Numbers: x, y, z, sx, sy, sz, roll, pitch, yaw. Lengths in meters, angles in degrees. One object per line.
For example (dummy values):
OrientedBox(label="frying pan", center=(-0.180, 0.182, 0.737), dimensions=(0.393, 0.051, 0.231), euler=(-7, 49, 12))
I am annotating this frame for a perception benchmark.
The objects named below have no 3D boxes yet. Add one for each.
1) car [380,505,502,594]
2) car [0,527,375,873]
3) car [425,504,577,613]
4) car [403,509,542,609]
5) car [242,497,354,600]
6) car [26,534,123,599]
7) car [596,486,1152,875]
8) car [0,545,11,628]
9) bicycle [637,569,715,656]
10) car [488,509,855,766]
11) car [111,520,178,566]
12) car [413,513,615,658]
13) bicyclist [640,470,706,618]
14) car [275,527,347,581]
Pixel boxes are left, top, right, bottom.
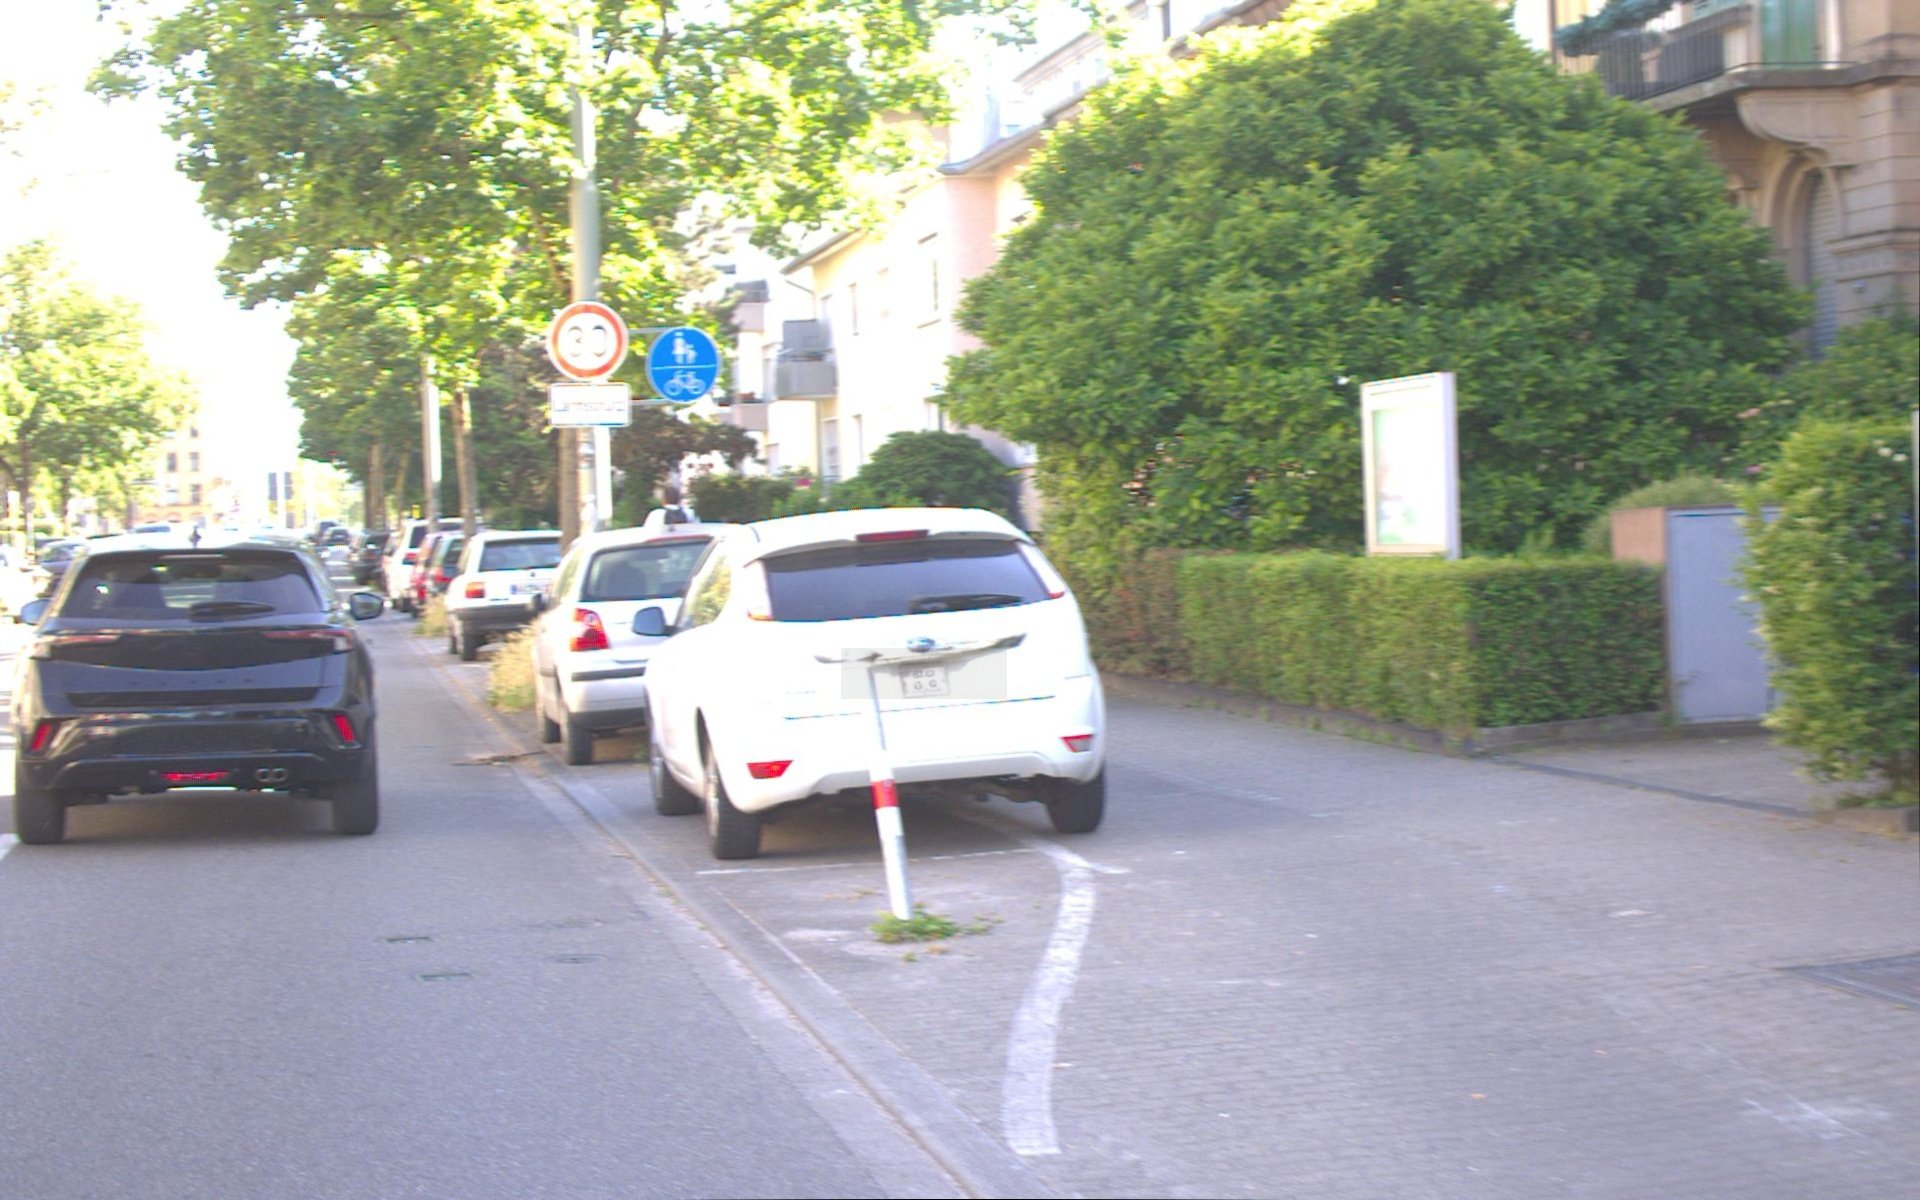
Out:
OrientedBox(label="car", center=(-9.470, -0.933, 62.531), dimensions=(1.909, 1.425, 4.001), euler=(-5, 2, -11))
OrientedBox(label="car", center=(-4.010, 0.421, 18.145), dimensions=(1.762, 1.553, 4.001), euler=(-2, 2, -10))
OrientedBox(label="car", center=(-6.930, -0.634, 51.613), dimensions=(1.909, 1.425, 4.001), euler=(-5, 2, -11))
OrientedBox(label="car", center=(-7.975, -0.690, 56.017), dimensions=(1.909, 1.425, 4.001), euler=(-5, 2, -11))
OrientedBox(label="car", center=(-10.722, -0.826, 55.876), dimensions=(1.591, 1.560, 4.090), euler=(-2, 1, -9))
OrientedBox(label="car", center=(-21.505, -0.841, 83.612), dimensions=(1.809, 1.383, 4.250), euler=(-4, 2, -9))
OrientedBox(label="car", center=(-0.552, 0.291, 16.372), dimensions=(1.909, 1.513, 4.001), euler=(-3, 2, -11))
OrientedBox(label="car", center=(-15.735, -0.116, 52.581), dimensions=(1.809, 1.278, 4.250), euler=(-4, 2, -9))
OrientedBox(label="bicycle", center=(-3.037, 0.120, 36.638), dimensions=(0.553, 0.830, 2.132), euler=(-2, 2, -12))
OrientedBox(label="car", center=(-2.030, 0.186, 23.094), dimensions=(1.909, 1.425, 4.001), euler=(-5, 2, -11))
OrientedBox(label="car", center=(-27.350, -1.914, 115.394), dimensions=(1.809, 1.383, 4.250), euler=(-4, 2, -9))
OrientedBox(label="car", center=(-5.157, -0.200, 39.352), dimensions=(1.909, 1.425, 4.001), euler=(-5, 2, -11))
OrientedBox(label="bicyclist", center=(-3.060, -0.608, 36.619), dimensions=(0.553, 1.543, 0.815), euler=(-2, 2, -12))
OrientedBox(label="car", center=(-18.432, -1.305, 97.485), dimensions=(1.837, 1.428, 4.178), euler=(-2, 2, -12))
